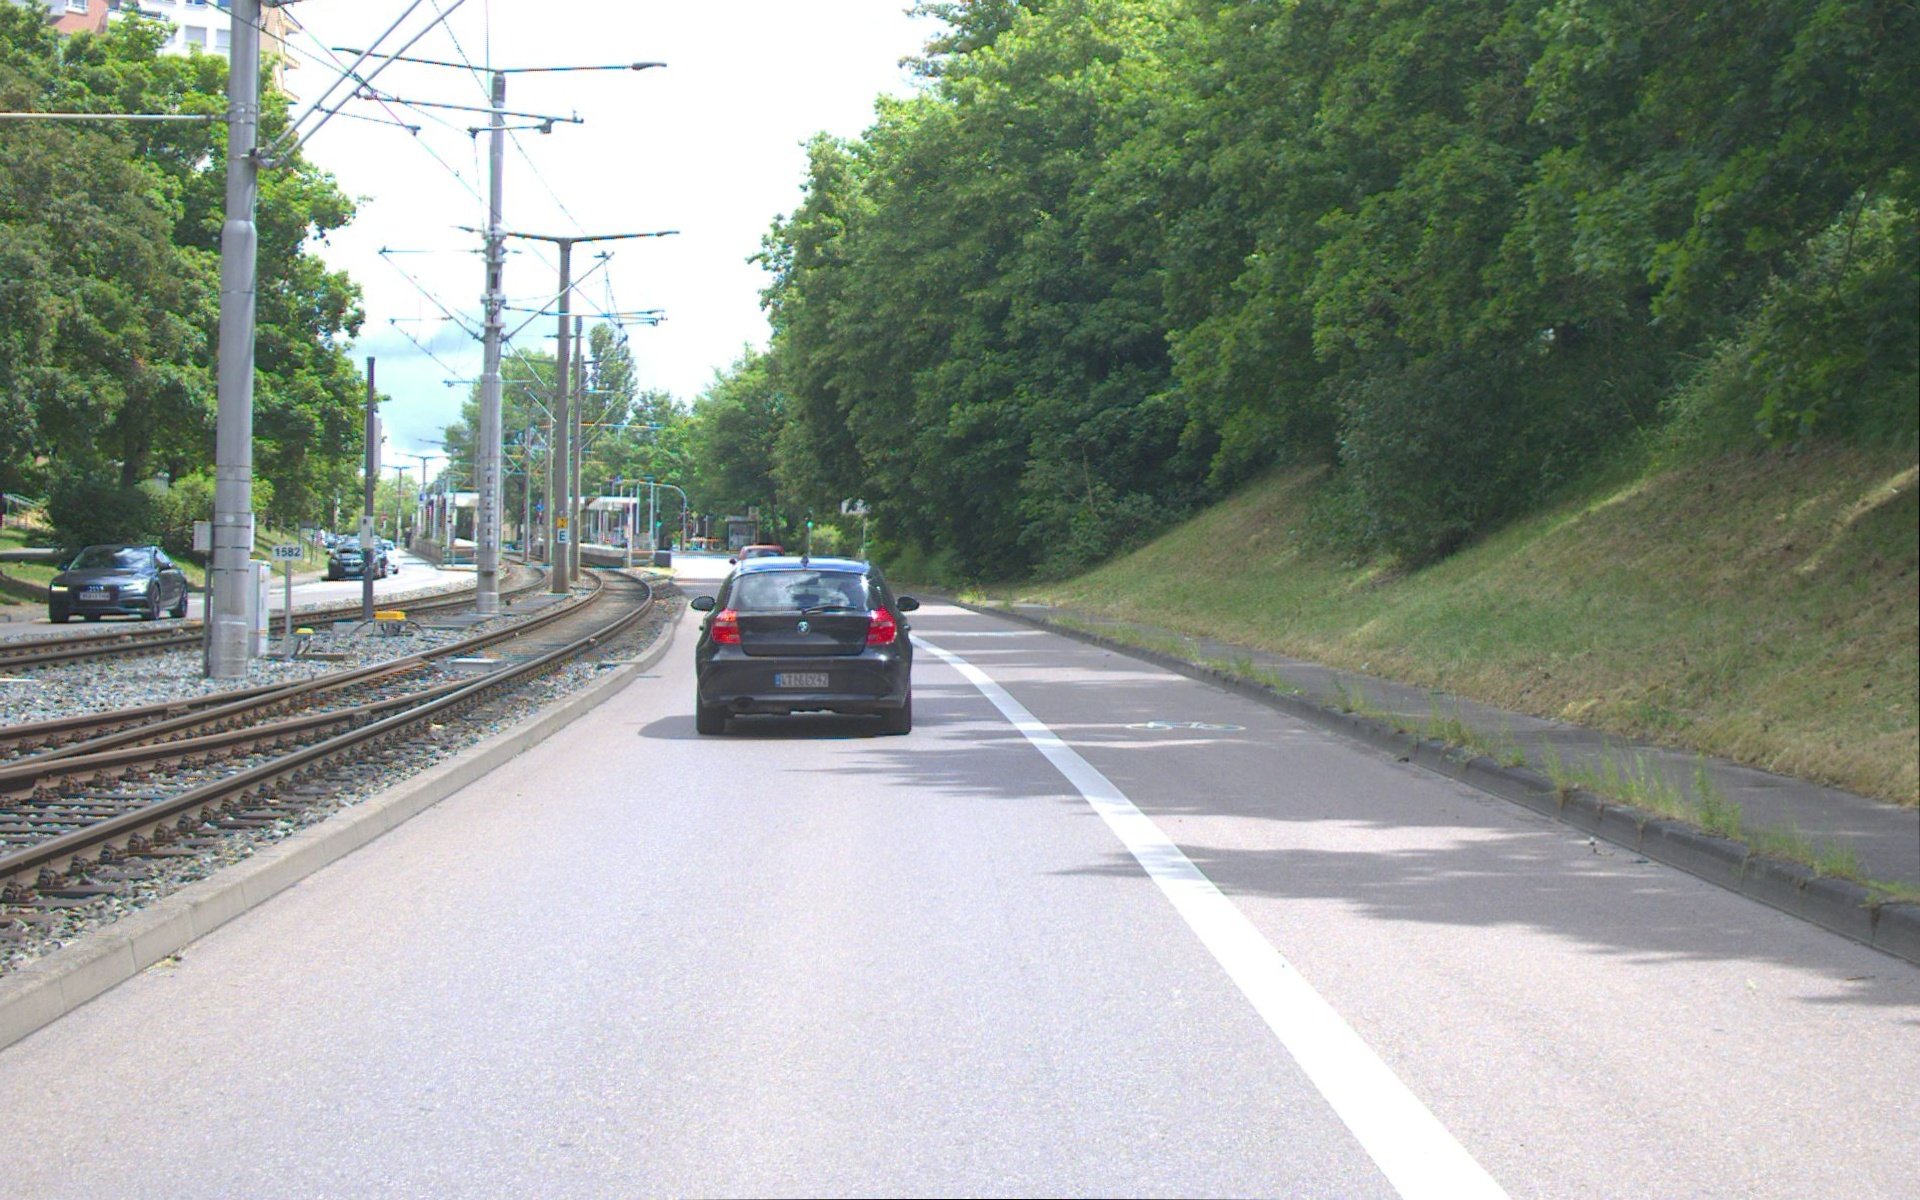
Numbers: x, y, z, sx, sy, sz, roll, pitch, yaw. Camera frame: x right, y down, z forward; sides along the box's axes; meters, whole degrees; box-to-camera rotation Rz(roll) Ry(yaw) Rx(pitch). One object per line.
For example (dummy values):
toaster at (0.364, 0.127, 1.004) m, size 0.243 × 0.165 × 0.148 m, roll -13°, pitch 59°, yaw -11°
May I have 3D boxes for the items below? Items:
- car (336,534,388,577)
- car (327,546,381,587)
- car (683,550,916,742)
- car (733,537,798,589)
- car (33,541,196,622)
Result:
car at (-23.274, -1.702, 133.830) m, size 1.774 × 1.624 × 4.383 m, roll 0°, pitch 0°, yaw -7°
car at (-22.410, -1.251, 127.204) m, size 1.774 × 1.493 × 3.998 m, roll 1°, pitch 1°, yaw -7°
car at (-1.371, 0.324, 28.296) m, size 1.781 × 1.454 × 3.922 m, roll 0°, pitch 1°, yaw -4°
car at (-5.632, -1.075, 99.076) m, size 1.781 × 1.454 × 3.922 m, roll 1°, pitch 1°, yaw -4°
car at (-15.433, -0.370, 62.991) m, size 1.835 × 1.386 × 4.862 m, roll -1°, pitch 1°, yaw -1°
